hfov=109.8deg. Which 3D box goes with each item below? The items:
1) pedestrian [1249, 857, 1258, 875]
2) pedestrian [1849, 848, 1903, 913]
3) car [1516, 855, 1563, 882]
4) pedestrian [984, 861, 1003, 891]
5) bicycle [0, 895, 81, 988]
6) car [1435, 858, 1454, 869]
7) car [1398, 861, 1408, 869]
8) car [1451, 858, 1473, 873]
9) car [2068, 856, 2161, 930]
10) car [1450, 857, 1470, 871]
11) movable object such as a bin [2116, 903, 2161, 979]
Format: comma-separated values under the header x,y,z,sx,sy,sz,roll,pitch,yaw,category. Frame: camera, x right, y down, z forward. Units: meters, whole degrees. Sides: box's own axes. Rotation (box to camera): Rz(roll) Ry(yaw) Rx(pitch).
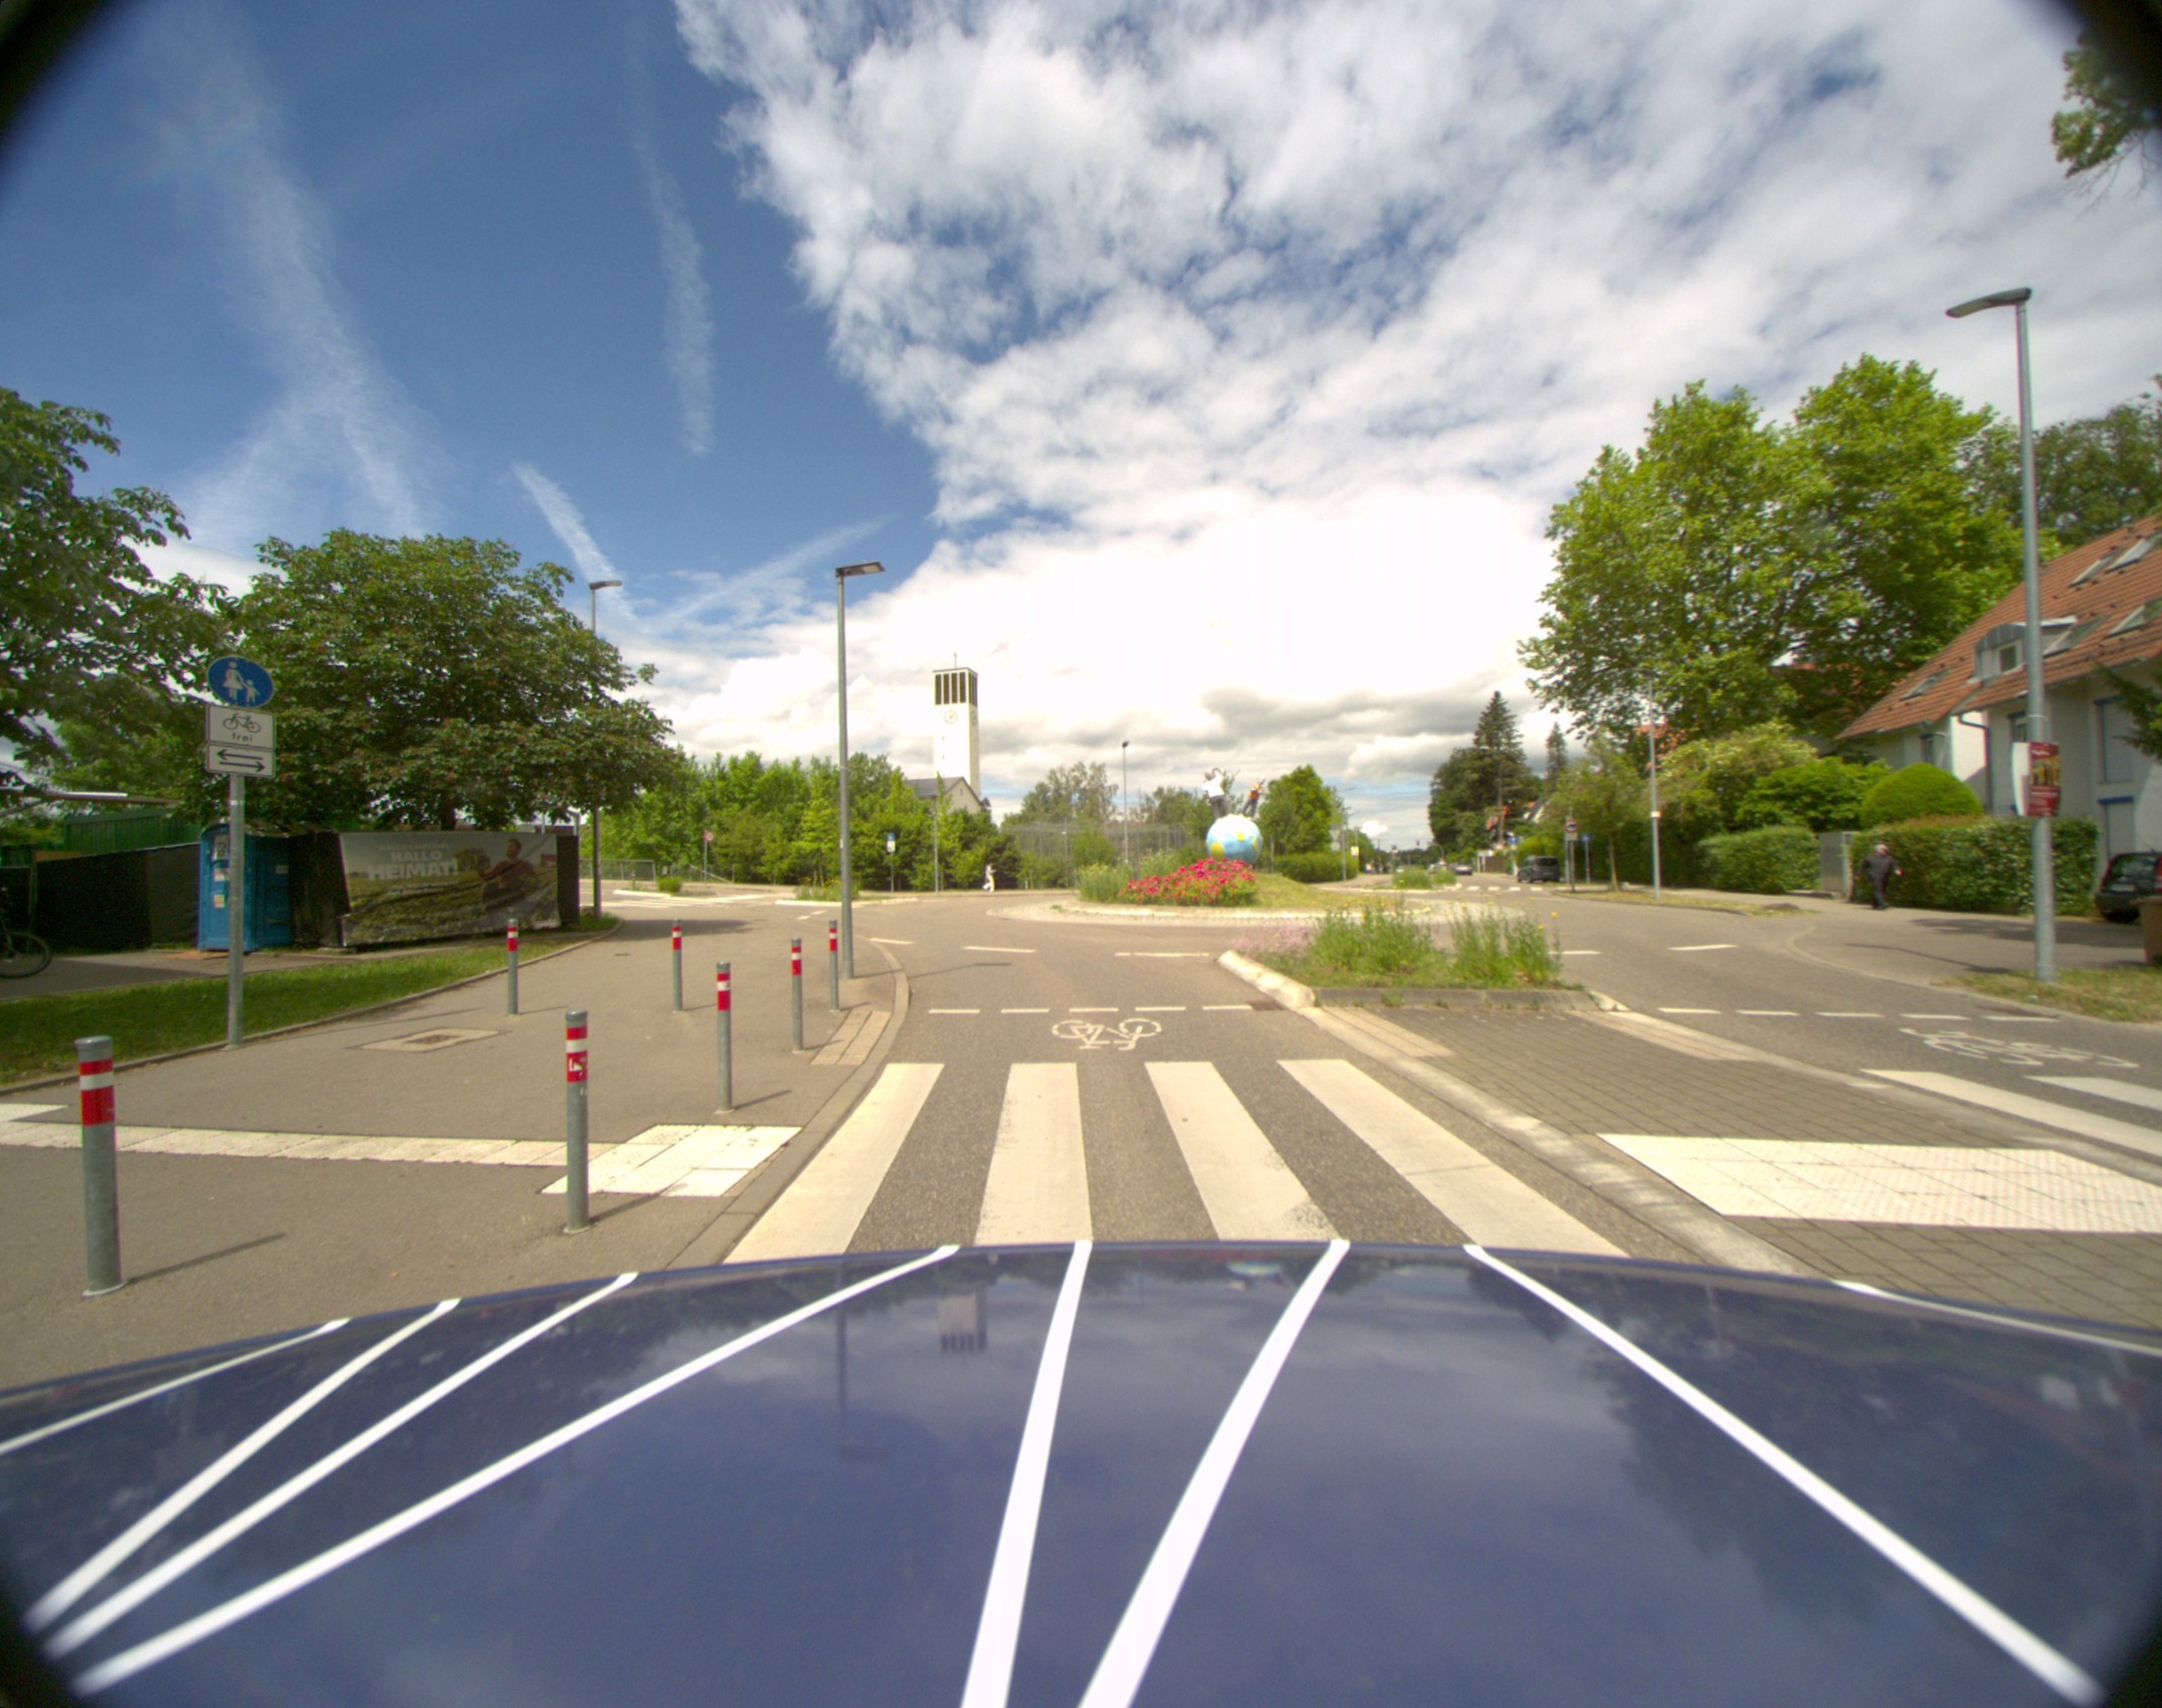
x,y,z,sx,sy,sz,roll,pitch,yaw,category
14.939,1.001,65.853,0.763,1.548,0.602,0,0,8,pedestrian
21.057,0.707,20.146,0.744,1.681,0.695,-2,0,23,pedestrian
29.345,0.891,48.713,1.678,1.652,4.005,-1,0,17,car
-4.633,1.163,40.263,0.457,1.524,0.965,-2,-1,29,pedestrian
-15.301,1.226,10.464,1.773,1.227,0.714,-2,0,-12,bicycle
54.648,1.410,114.331,1.996,1.696,4.005,0,0,17,car
69.359,2.425,163.532,1.995,1.696,4.007,0,0,23,car
42.855,1.236,85.478,1.859,1.568,4.006,-2,0,22,car
22.391,0.796,14.729,3.570,1.389,1.668,2,1,22,car
45.123,1.208,90.428,1.784,1.568,4.006,-2,0,22,car
13.930,1.121,9.865,0.441,0.929,0.412,0,0,-7,movable object such as a bin
